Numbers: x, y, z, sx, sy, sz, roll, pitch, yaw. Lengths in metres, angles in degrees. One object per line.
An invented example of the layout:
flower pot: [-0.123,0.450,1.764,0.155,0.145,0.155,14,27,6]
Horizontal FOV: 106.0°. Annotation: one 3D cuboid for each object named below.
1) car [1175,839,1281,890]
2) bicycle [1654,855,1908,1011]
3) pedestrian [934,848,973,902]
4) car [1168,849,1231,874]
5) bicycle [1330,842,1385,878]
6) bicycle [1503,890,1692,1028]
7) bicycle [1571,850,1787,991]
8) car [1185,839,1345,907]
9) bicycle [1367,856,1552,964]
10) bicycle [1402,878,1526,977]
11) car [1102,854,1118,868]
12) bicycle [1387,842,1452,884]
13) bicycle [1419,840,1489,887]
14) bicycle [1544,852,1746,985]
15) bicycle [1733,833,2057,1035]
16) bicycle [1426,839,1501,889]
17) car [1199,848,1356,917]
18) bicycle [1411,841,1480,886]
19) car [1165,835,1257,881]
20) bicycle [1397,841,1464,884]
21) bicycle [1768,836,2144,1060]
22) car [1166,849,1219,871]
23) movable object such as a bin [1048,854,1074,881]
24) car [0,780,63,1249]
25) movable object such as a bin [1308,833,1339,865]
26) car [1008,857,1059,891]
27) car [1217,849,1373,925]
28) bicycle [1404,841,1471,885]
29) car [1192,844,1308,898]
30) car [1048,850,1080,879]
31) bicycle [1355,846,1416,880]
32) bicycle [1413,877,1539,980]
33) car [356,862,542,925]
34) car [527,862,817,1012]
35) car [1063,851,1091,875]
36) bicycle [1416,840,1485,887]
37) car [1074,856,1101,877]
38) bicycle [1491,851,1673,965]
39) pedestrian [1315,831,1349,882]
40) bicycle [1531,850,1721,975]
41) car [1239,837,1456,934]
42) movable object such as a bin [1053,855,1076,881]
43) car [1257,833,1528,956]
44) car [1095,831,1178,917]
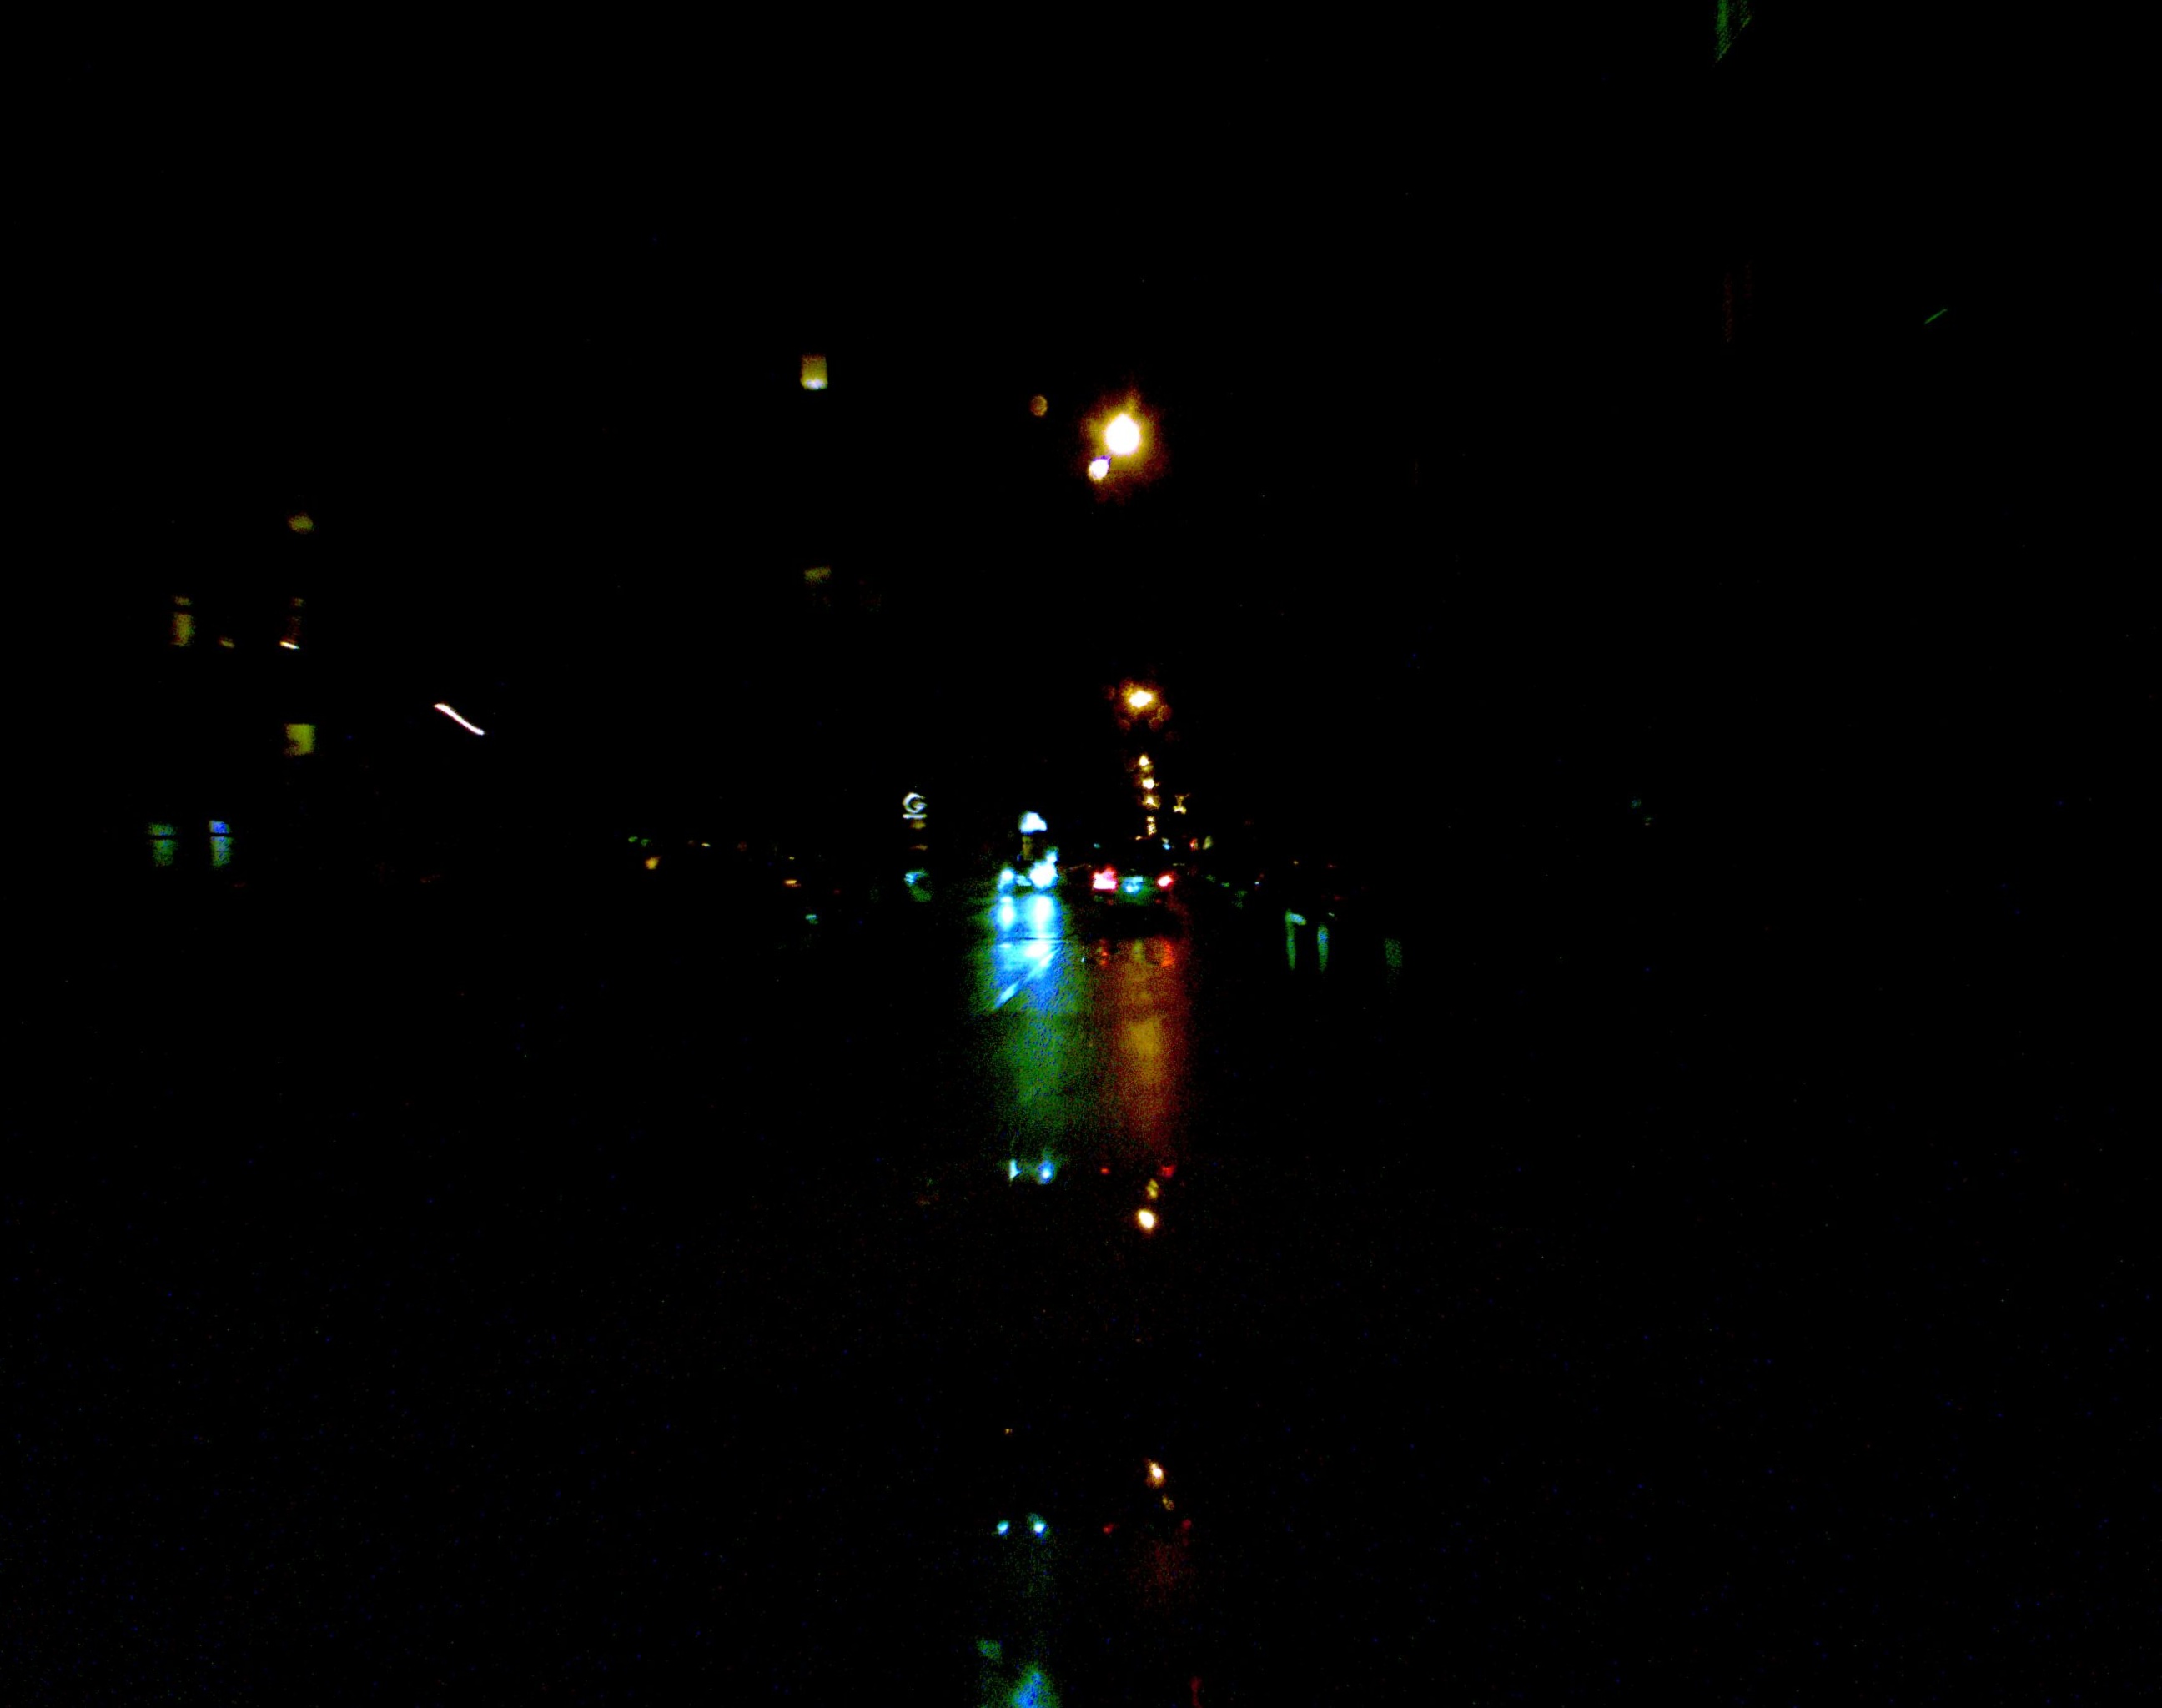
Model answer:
car: [6.257,0.415,34.472,4.261,1.858,1.700,-4,-1,-31]
bicycle: [5.520,0.605,6.465,1.590,1.112,0.418,-3,0,1]
pedestrian: [-4.371,0.712,28.014,1.127,1.782,0.789,-1,0,5]
car: [8.097,0.507,55.625,4.012,1.552,1.787,-2,-1,-30]
bicycle: [11.296,0.250,33.360,1.959,1.335,0.785,-5,-1,11]
bicycle: [3.966,0.799,6.286,1.206,0.948,0.302,-4,0,1]
bicycle: [5.395,0.587,7.391,1.590,1.158,0.418,-3,0,1]
car: [5.206,0.486,23.104,4.107,1.764,1.846,-1,0,-20]
bicycle: [4.531,0.663,9.860,1.878,1.158,0.681,-3,0,7]
bicycle: [4.112,0.784,8.773,1.127,0.948,0.268,-5,0,2]
car: [3.373,0.801,94.323,1.579,1.482,3.800,-1,0,6]
bicycle: [10.515,0.266,25.353,1.681,1.146,0.665,-5,0,-4]
bicycle: [10.180,0.246,22.244,1.681,1.146,0.428,-5,0,-4]
bicycle: [5.402,0.601,7.835,1.590,1.158,0.418,-3,0,1]
bicycle: [5.375,0.523,5.436,1.571,1.234,0.418,-3,0,7]
bicycle: [9.890,0.261,21.080,1.681,1.146,0.428,-5,0,-4]
car: [5.011,0.675,20.892,3.562,1.611,1.703,-1,0,-17]
bicycle: [10.440,0.262,23.339,1.681,1.146,0.485,-5,0,-4]
car: [7.035,0.220,43.965,4.742,2.248,1.927,-2,-1,-31]
bicycle: [10.541,0.265,24.584,1.681,1.146,0.596,-5,0,-4]
bicycle: [5.230,0.556,4.927,1.655,1.234,0.386,-3,0,7]
car: [8.596,0.475,62.750,3.683,1.460,1.594,-3,0,-19]
movable object such as a bin: [-1.070,0.721,44.043,1.202,1.459,1.109,0,0,7]
car: [-5.431,0.666,1.061,1.857,1.846,4.835,-2,0,6]
movable object such as a bin: [12.130,-0.263,40.752,1.203,1.451,1.000,-6,-1,5]
car: [-2.020,0.837,35.818,1.646,1.359,4.228,-1,0,5]
car: [4.759,0.684,18.204,3.046,1.552,1.496,-1,0,-17]
bicycle: [10.449,0.263,23.906,1.681,1.146,0.541,-5,0,-4]
car: [5.968,0.547,28.670,3.814,1.728,1.725,-1,0,-30]
car: [-1.007,0.654,50.493,1.596,1.706,3.726,-1,0,5]
bicycle: [10.976,0.331,29.375,1.966,1.054,0.509,-4,-1,-2]
bicycle: [4.109,0.771,8.493,1.127,0.974,0.249,-4,0,2]
car: [-18.148,1.114,23.504,3.968,1.680,1.889,-1,0,4]
car: [-4.668,0.843,9.913,1.539,1.443,3.567,0,0,4]
car: [-0.263,0.598,56.405,1.596,1.552,4.031,0,0,5]
bicycle: [10.337,0.261,22.810,1.681,1.146,0.428,-5,0,-4]
car: [0.512,0.928,61.408,1.678,1.455,4.321,0,0,5]
bicycle: [5.504,0.596,9.026,1.584,1.158,0.541,-3,0,12]
pedestrian: [9.647,0.098,31.301,0.835,1.835,0.947,-6,-2,1]
bicycle: [5.514,0.580,8.276,1.590,1.158,0.418,-3,0,1]
car: [5.130,0.563,15.753,3.713,1.522,1.645,-3,-1,-21]
movable object such as a bin: [-0.904,0.762,45.282,1.158,1.459,1.109,0,0,7]
car: [4.818,0.564,12.652,3.713,1.522,1.645,-3,-1,-21]
car: [1.534,0.513,21.757,1.984,2.050,4.006,-1,-1,5]
